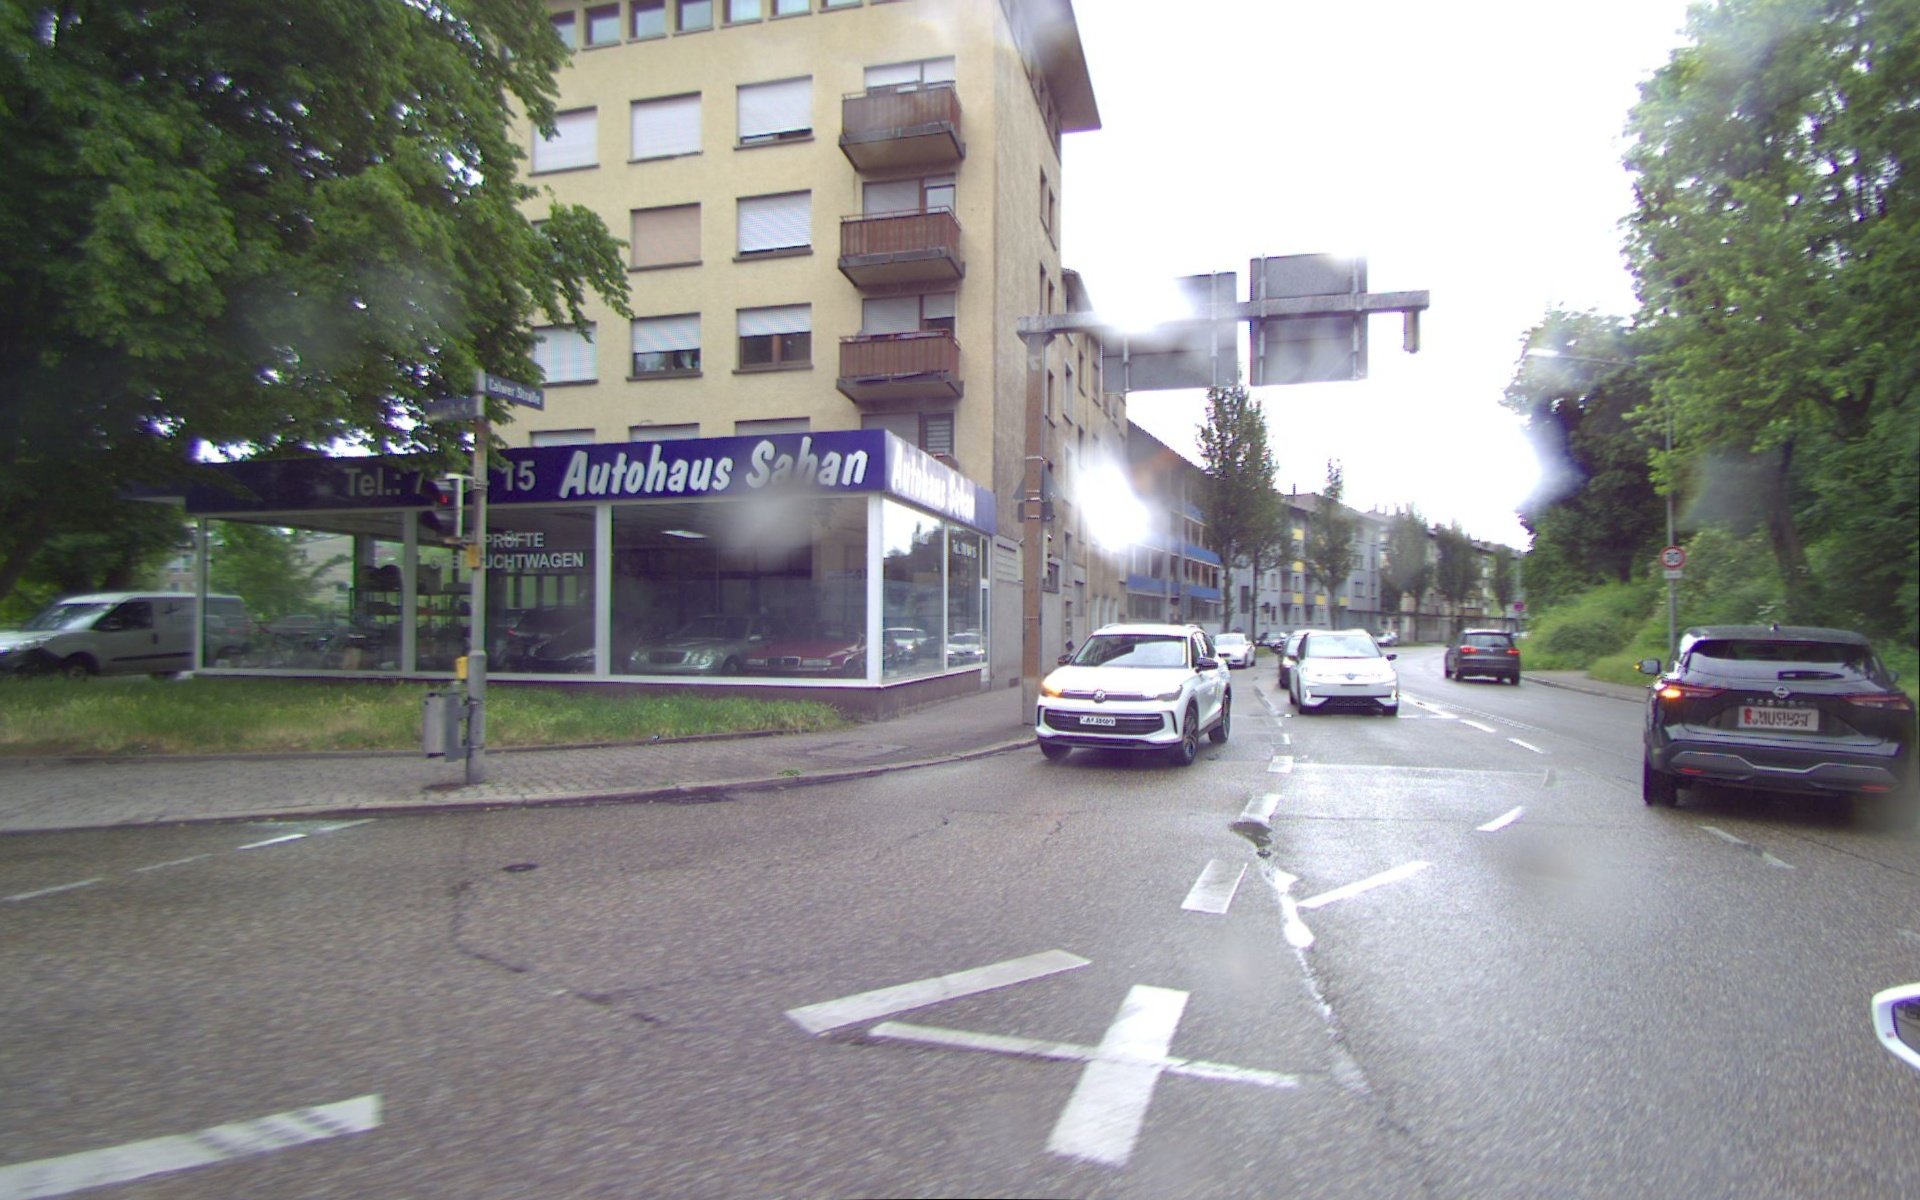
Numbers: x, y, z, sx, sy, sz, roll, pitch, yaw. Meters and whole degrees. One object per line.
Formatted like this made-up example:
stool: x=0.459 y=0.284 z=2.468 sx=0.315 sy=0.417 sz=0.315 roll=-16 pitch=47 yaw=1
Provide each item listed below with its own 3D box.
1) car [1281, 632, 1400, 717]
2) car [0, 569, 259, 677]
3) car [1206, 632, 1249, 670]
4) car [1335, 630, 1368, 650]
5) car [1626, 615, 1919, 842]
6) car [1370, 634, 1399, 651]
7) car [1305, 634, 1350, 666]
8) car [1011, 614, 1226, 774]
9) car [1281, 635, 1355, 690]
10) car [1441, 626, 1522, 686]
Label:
car: x=7.490 y=1.398 z=20.121 sx=1.755 sy=1.515 sz=4.219 roll=-1 pitch=-2 yaw=15
car: x=-16.713 y=0.448 z=19.777 sx=1.942 sy=1.854 sz=4.748 roll=1 pitch=-1 yaw=10
car: x=11.166 y=2.104 z=42.035 sx=1.629 sy=1.475 sz=4.002 roll=-1 pitch=-2 yaw=14
car: x=33.088 y=3.365 z=84.837 sx=1.740 sy=1.625 sz=4.521 roll=-1 pitch=-2 yaw=34
car: x=7.414 y=1.000 z=9.470 sx=1.819 sy=1.603 sz=3.989 roll=2 pitch=-1 yaw=33
car: x=39.569 y=3.959 z=93.637 sx=1.701 sy=1.472 sz=4.193 roll=-1 pitch=-3 yaw=34
car: x=17.775 y=2.362 z=48.496 sx=1.725 sy=1.444 sz=4.534 roll=0 pitch=-2 yaw=24
car: x=2.266 y=1.076 z=13.156 sx=1.808 sy=1.693 sz=4.473 roll=0 pitch=-2 yaw=22
car: x=10.167 y=1.718 z=28.747 sx=1.760 sy=1.425 sz=4.627 roll=0 pitch=-2 yaw=17
car: x=16.602 y=1.742 z=32.147 sx=1.856 sy=1.734 sz=3.999 roll=1 pitch=-1 yaw=22
